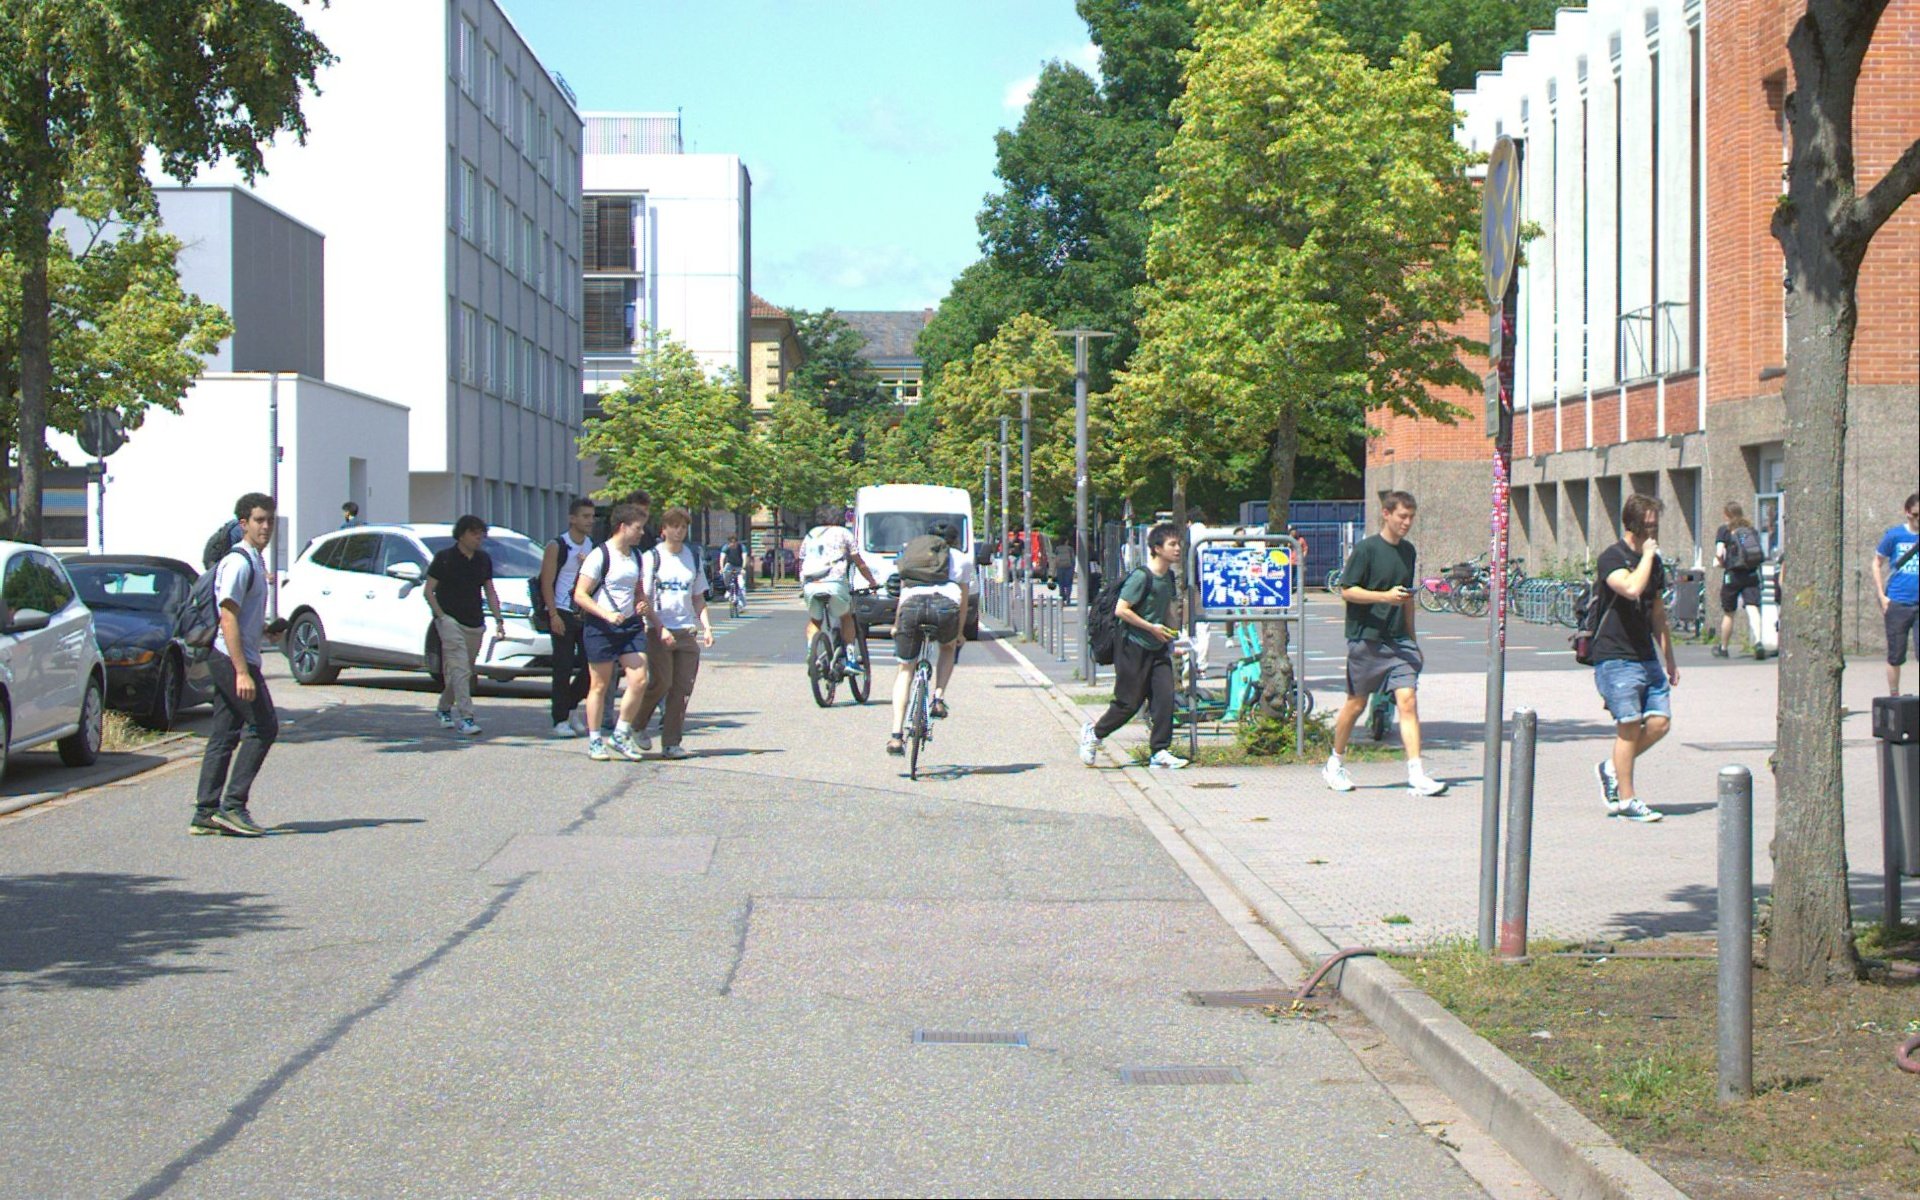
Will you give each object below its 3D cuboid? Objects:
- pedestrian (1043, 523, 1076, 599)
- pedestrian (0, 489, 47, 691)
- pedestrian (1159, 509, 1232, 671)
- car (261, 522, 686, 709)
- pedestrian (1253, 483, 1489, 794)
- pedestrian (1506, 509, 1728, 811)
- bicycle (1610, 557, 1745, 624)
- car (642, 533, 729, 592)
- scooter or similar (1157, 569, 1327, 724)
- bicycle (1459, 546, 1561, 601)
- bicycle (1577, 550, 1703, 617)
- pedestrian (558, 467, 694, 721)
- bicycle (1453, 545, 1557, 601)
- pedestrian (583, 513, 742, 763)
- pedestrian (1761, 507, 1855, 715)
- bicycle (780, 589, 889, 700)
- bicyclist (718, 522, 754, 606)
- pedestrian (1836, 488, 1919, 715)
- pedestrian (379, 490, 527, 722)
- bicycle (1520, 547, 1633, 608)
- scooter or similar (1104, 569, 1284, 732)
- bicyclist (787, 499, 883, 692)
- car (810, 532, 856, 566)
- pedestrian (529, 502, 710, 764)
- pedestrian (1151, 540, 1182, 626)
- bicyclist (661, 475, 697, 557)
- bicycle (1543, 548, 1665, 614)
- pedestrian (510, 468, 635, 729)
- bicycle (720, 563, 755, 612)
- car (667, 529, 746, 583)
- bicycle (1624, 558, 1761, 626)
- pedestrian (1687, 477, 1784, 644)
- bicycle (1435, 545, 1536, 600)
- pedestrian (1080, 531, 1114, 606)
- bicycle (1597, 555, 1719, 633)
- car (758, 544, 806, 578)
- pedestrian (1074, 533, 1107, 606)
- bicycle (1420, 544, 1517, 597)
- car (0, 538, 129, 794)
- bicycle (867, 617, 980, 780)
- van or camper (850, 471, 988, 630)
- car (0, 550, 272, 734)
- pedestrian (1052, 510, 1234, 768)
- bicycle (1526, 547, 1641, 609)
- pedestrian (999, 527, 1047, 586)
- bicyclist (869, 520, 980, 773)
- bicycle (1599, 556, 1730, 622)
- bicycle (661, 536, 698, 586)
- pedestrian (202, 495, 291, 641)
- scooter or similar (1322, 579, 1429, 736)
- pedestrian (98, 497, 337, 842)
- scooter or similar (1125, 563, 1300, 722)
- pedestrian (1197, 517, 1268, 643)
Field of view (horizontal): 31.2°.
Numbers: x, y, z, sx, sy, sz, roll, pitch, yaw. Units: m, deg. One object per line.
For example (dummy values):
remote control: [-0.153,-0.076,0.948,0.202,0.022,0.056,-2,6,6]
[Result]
pedestrian: [2.469,-0.972,85.316,0.790,1.853,1.243,-1,1,0]
pedestrian: [-9.486,-0.114,32.861,1.015,1.897,1.178,4,-2,-36]
pedestrian: [2.535,-0.121,37.087,0.702,1.688,0.962,-1,3,0]
car: [-4.812,0.118,33.530,1.918,1.613,4.519,3,0,-40]
pedestrian: [2.531,0.232,21.208,0.852,1.853,1.116,-1,0,-41]
pedestrian: [3.600,0.311,18.839,0.848,1.589,0.830,-3,2,-44]
bicycle: [10.376,-0.141,49.756,1.809,0.909,0.560,-2,1,-1]
car: [-7.338,-1.027,92.243,1.795,1.525,4.000,-1,1,3]
scooter or similar: [2.369,0.379,28.877,1.263,1.260,0.638,0,1,31]
bicycle: [10.368,-0.499,64.822,1.809,0.981,0.560,-2,1,-1]
bicycle: [10.466,-0.256,52.926,1.809,0.981,0.560,-2,1,-1]
pedestrian: [-2.654,-0.063,27.357,0.827,1.973,0.691,2,2,22]
bicycle: [10.146,-0.498,63.987,1.809,0.981,0.560,-2,1,-1]
pedestrian: [-2.113,0.254,24.417,0.908,1.733,0.677,1,1,38]
pedestrian: [6.772,0.080,27.469,0.501,1.625,0.571,-2,1,-9]
bicycle: [-1.153,0.406,31.968,0.808,0.999,2.123,0,0,3]
bicyclist: [-4.530,-0.734,69.525,0.667,1.676,0.993,-1,1,-5]
pedestrian: [7.571,0.000,27.691,0.708,1.781,0.753,-2,1,-9]
pedestrian: [-3.948,0.029,26.797,0.802,1.766,0.853,2,2,22]
bicycle: [10.565,-0.390,58.908,1.809,0.981,0.560,-2,1,-1]
scooter or similar: [1.857,0.389,27.313,1.263,1.260,0.649,0,1,31]
bicyclist: [-1.158,-0.051,31.916,0.771,1.750,0.848,1,1,4]
car: [-5.834,-2.356,158.262,1.795,1.525,4.000,-1,1,3]
pedestrian: [-2.356,0.209,23.781,0.983,1.733,0.699,4,3,37]
pedestrian: [4.473,-0.380,74.477,0.576,1.853,0.570,-1,1,-3]
bicyclist: [-5.564,-1.660,68.075,0.643,1.596,0.909,-1,1,-3]
bicycle: [10.273,-0.308,54.883,1.809,0.981,0.560,-2,1,-1]
pedestrian: [-2.989,-0.013,26.481,0.616,1.973,0.829,-1,0,-32]
bicycle: [-4.504,-0.246,69.581,0.677,0.961,2.003,2,-1,-4]
car: [-7.321,-1.287,99.655,1.795,1.525,4.000,-1,1,3]
bicycle: [10.410,-0.120,48.902,1.809,0.909,0.560,-2,1,-1]
pedestrian: [8.754,-0.452,38.839,0.790,1.853,1.116,-1,1,-2]
bicycle: [10.009,-0.531,65.519,1.809,0.981,0.560,-2,1,-1]
pedestrian: [3.384,-0.783,85.072,0.790,1.853,1.026,-1,1,0]
bicycle: [9.525,-0.083,46.950,1.535,1.029,0.560,-1,1,-1]
car: [-8.195,-1.806,158.657,1.795,1.525,4.000,-1,1,3]
pedestrian: [3.339,-0.790,87.917,0.790,1.853,1.026,-1,1,0]
bicycle: [10.031,-0.586,67.857,1.809,0.981,0.560,-2,1,-1]
car: [-6.227,0.342,20.540,1.662,1.407,3.807,1,1,-1]
bicycle: [-0.260,0.645,23.256,0.706,0.990,1.911,2,1,-2]
van or camper: [-0.613,-0.783,55.534,1.993,2.437,4.569,-1,0,2]
car: [-6.603,0.278,26.854,1.645,1.296,3.928,-1,1,0]
pedestrian: [1.255,0.254,23.656,0.702,1.714,0.993,-3,2,-42]
bicycle: [10.562,-0.377,58.267,1.809,0.981,0.560,-2,1,-1]
pedestrian: [2.214,-1.554,121.564,1.499,1.989,1.646,-3,2,-3]
bicyclist: [-0.248,0.294,23.076,0.717,1.656,1.095,0,1,-2]
bicycle: [10.480,-0.168,51.163,1.809,0.909,0.560,-2,1,-1]
bicycle: [-5.536,-0.774,67.955,0.677,0.961,2.003,0,1,-3]
pedestrian: [-8.770,-0.391,42.293,0.982,1.779,0.669,0,0,-4]
scooter or similar: [3.212,0.432,26.519,0.649,1.156,1.264,0,1,14]
pedestrian: [-3.786,0.346,17.592,1.105,1.710,0.710,1,1,-8]
scooter or similar: [2.059,0.337,28.060,1.263,1.260,0.649,0,1,31]
pedestrian: [3.810,-0.291,48.098,0.853,1.727,1.160,-1,1,-2]
